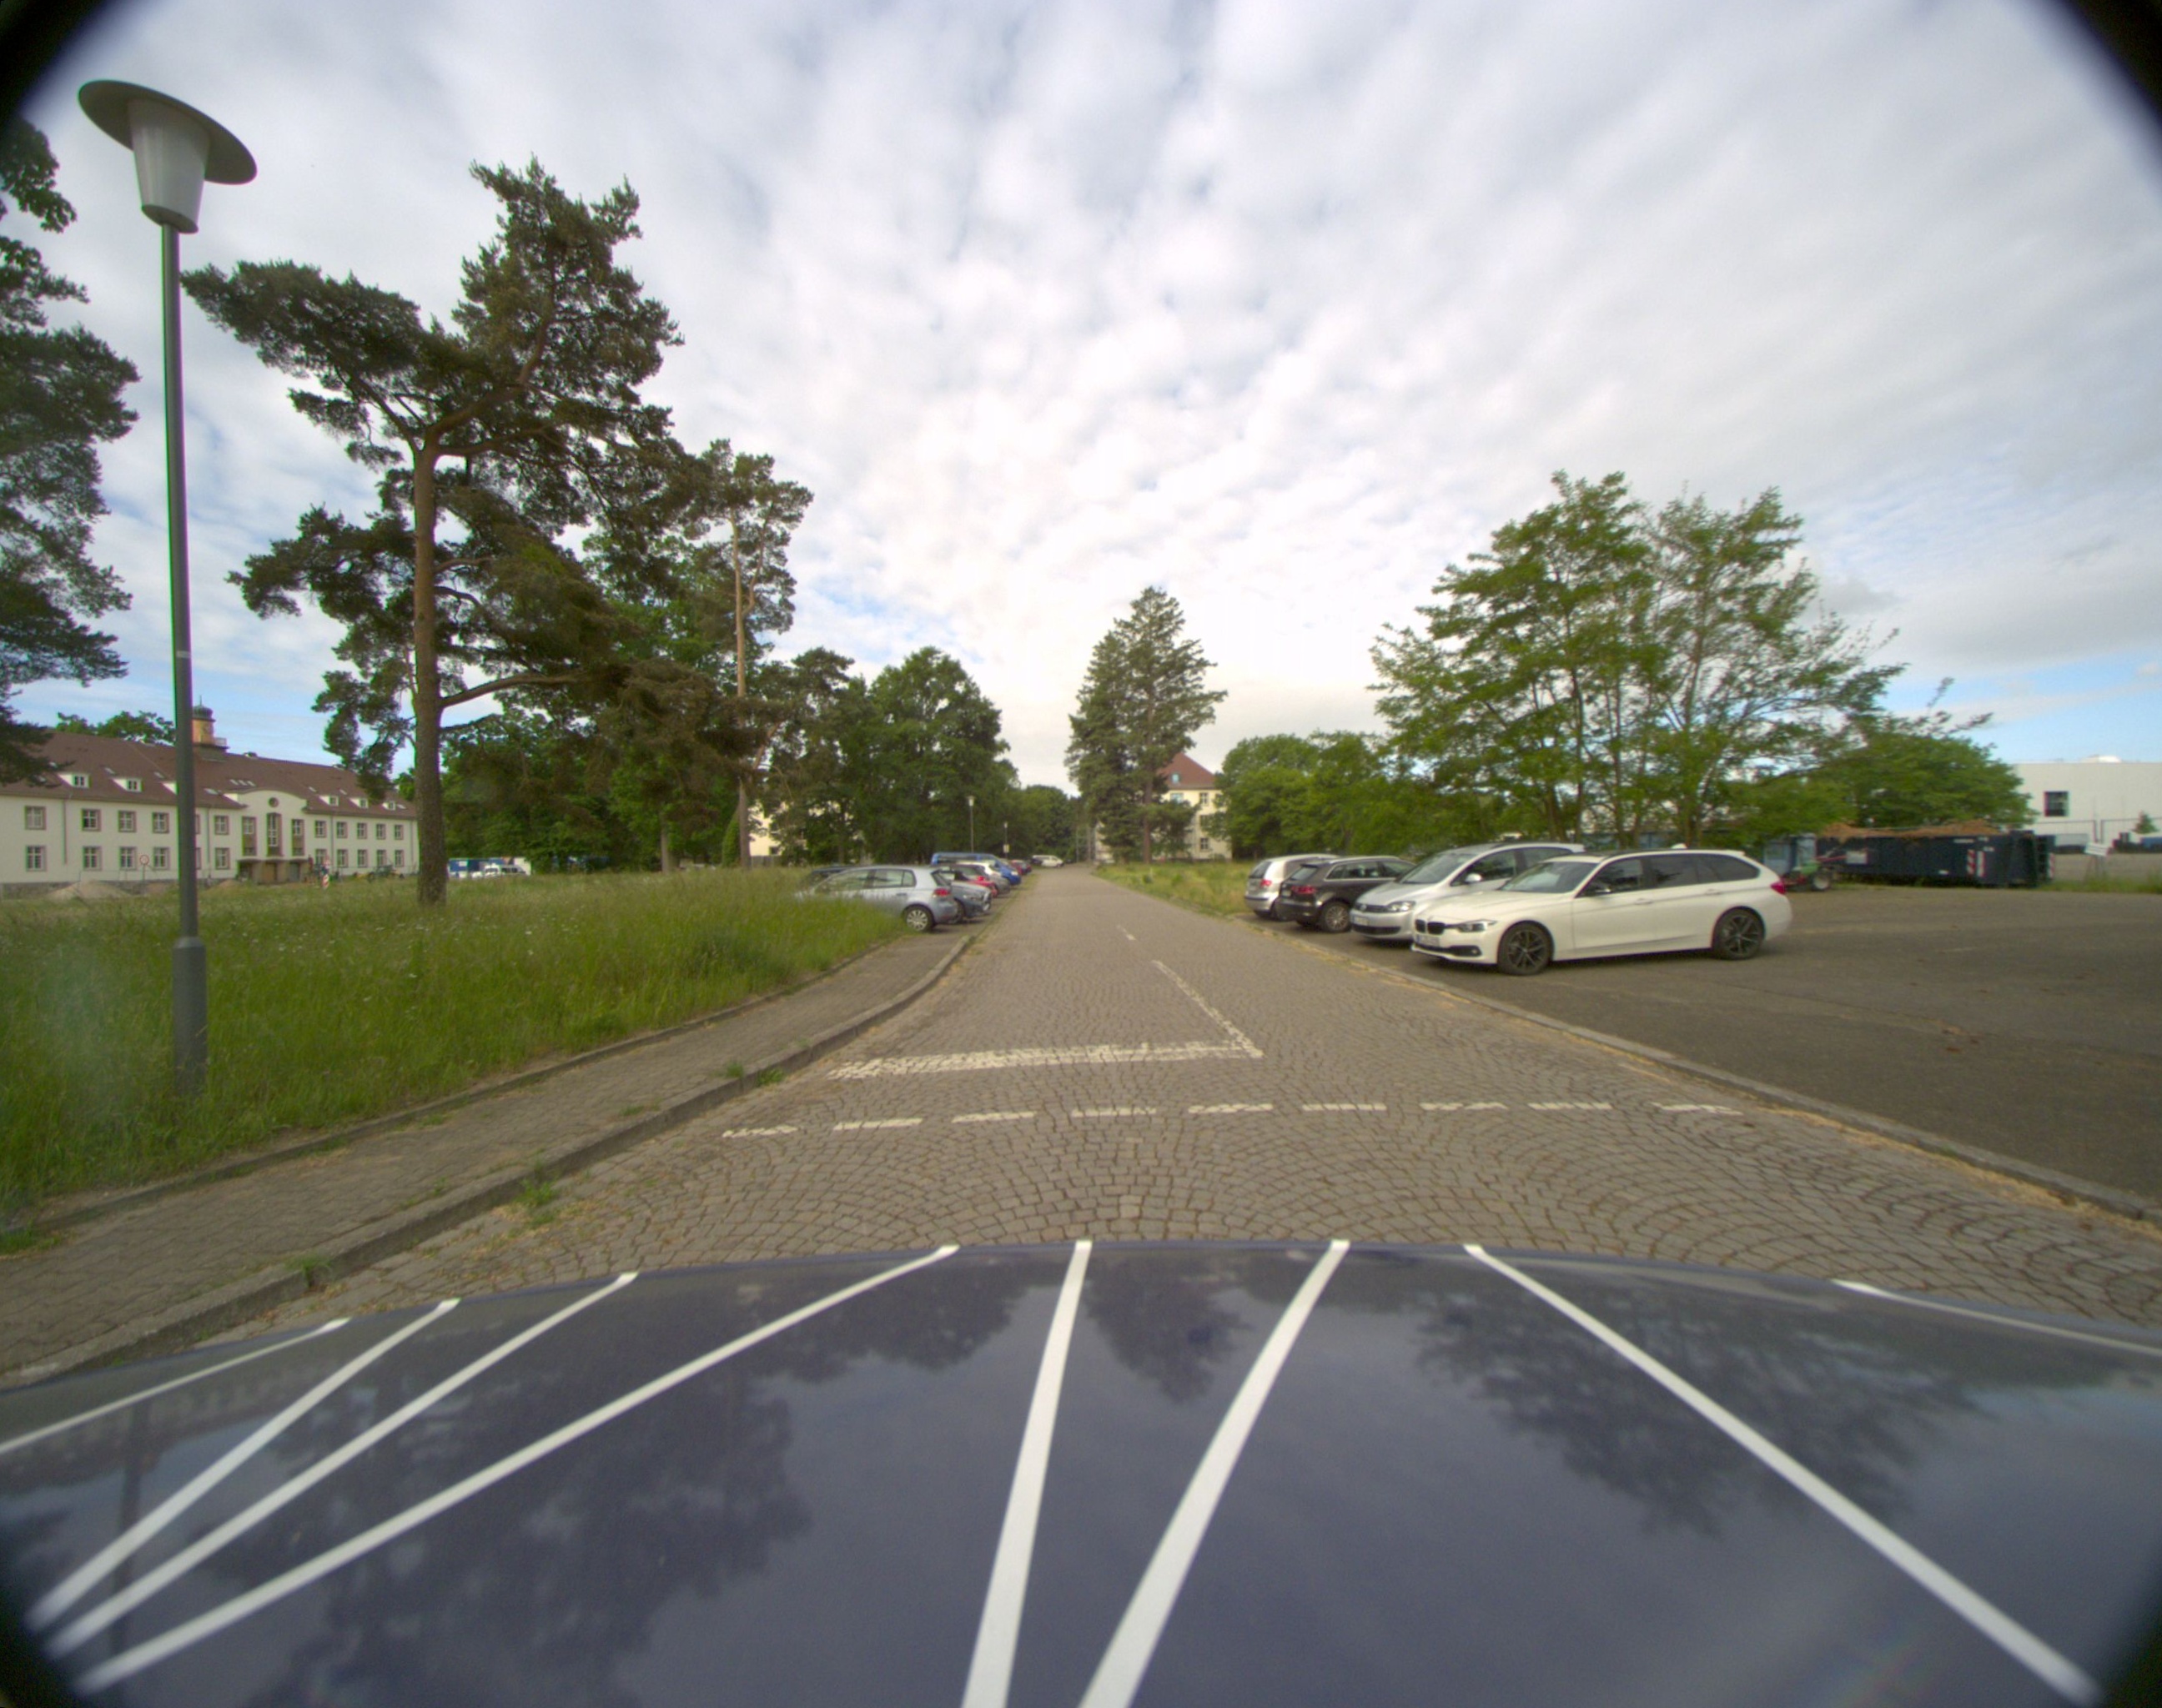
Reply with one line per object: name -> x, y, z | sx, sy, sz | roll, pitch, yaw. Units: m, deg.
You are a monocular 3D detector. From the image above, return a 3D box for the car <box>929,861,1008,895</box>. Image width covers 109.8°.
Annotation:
car -> -5.146, 1.078, 35.038 | 3.409, 1.443, 1.637 | -1, 0, -1

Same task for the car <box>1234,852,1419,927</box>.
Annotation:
car -> 5.750, 0.788, 18.055 | 3.689, 1.444, 1.807 | -4, 1, -7

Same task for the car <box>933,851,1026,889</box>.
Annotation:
car -> -5.327, 0.835, 40.457 | 4.750, 1.928, 1.999 | 0, 0, -2

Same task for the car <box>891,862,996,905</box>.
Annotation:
car -> -5.247, 1.114, 29.320 | 3.787, 1.497, 1.798 | -1, 0, -4

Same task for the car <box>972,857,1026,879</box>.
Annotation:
car -> -6.414, 1.090, 59.700 | 3.998, 1.521, 2.000 | -2, 0, -2

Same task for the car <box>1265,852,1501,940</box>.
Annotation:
car -> 5.971, 0.799, 15.312 | 3.998, 1.419, 1.750 | -4, 1, -3

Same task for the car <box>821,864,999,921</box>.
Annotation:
car -> -4.852, 1.082, 22.094 | 4.770, 1.474, 1.812 | -1, 0, -2

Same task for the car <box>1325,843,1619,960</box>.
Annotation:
car -> 6.384, 0.721, 12.625 | 3.999, 1.538, 1.723 | -3, 1, -7

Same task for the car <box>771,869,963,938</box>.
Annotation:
car -> -4.554, 1.036, 16.565 | 3.774, 1.418, 1.605 | 0, 0, -3

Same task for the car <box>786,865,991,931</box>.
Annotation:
car -> -4.721, 1.073, 19.218 | 4.771, 1.474, 1.761 | -1, 0, -5

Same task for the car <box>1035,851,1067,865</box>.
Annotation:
car -> -4.883, 0.619, 123.303 | 5.031, 2.164, 2.000 | -1, 0, 0

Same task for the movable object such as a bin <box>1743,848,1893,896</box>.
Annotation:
movable object such as a bin -> 18.991, 0.455, 19.664 | 2.397, 1.154, 1.500 | -1, 0, 3

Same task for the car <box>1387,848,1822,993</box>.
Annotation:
car -> 6.760, 0.782, 10.084 | 4.661, 1.435, 1.801 | -3, 1, -6

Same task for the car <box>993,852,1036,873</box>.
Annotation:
car -> -6.449, 0.838, 74.351 | 3.997, 2.002, 2.000 | -1, 0, -1

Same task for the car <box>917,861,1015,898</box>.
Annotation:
car -> -4.818, 1.076, 32.225 | 3.849, 1.448, 1.820 | -1, 0, 0

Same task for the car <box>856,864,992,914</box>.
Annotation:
car -> -4.943, 1.079, 24.354 | 3.972, 1.443, 1.799 | -1, 0, -2

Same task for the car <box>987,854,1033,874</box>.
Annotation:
car -> -6.539, 0.944, 69.949 | 4.008, 1.752, 2.000 | -1, 0, -1

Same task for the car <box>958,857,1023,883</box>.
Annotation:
car -> -5.830, 1.017, 49.385 | 3.998, 1.601, 2.000 | -1, 0, -2

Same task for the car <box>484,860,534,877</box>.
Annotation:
car -> -71.164, 1.780, 94.574 | 2.154, 2.002, 5.224 | -1, 0, 1

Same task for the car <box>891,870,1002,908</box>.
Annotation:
car -> -4.667, 1.198, 26.650 | 3.600, 1.200, 1.494 | -1, 0, -1
